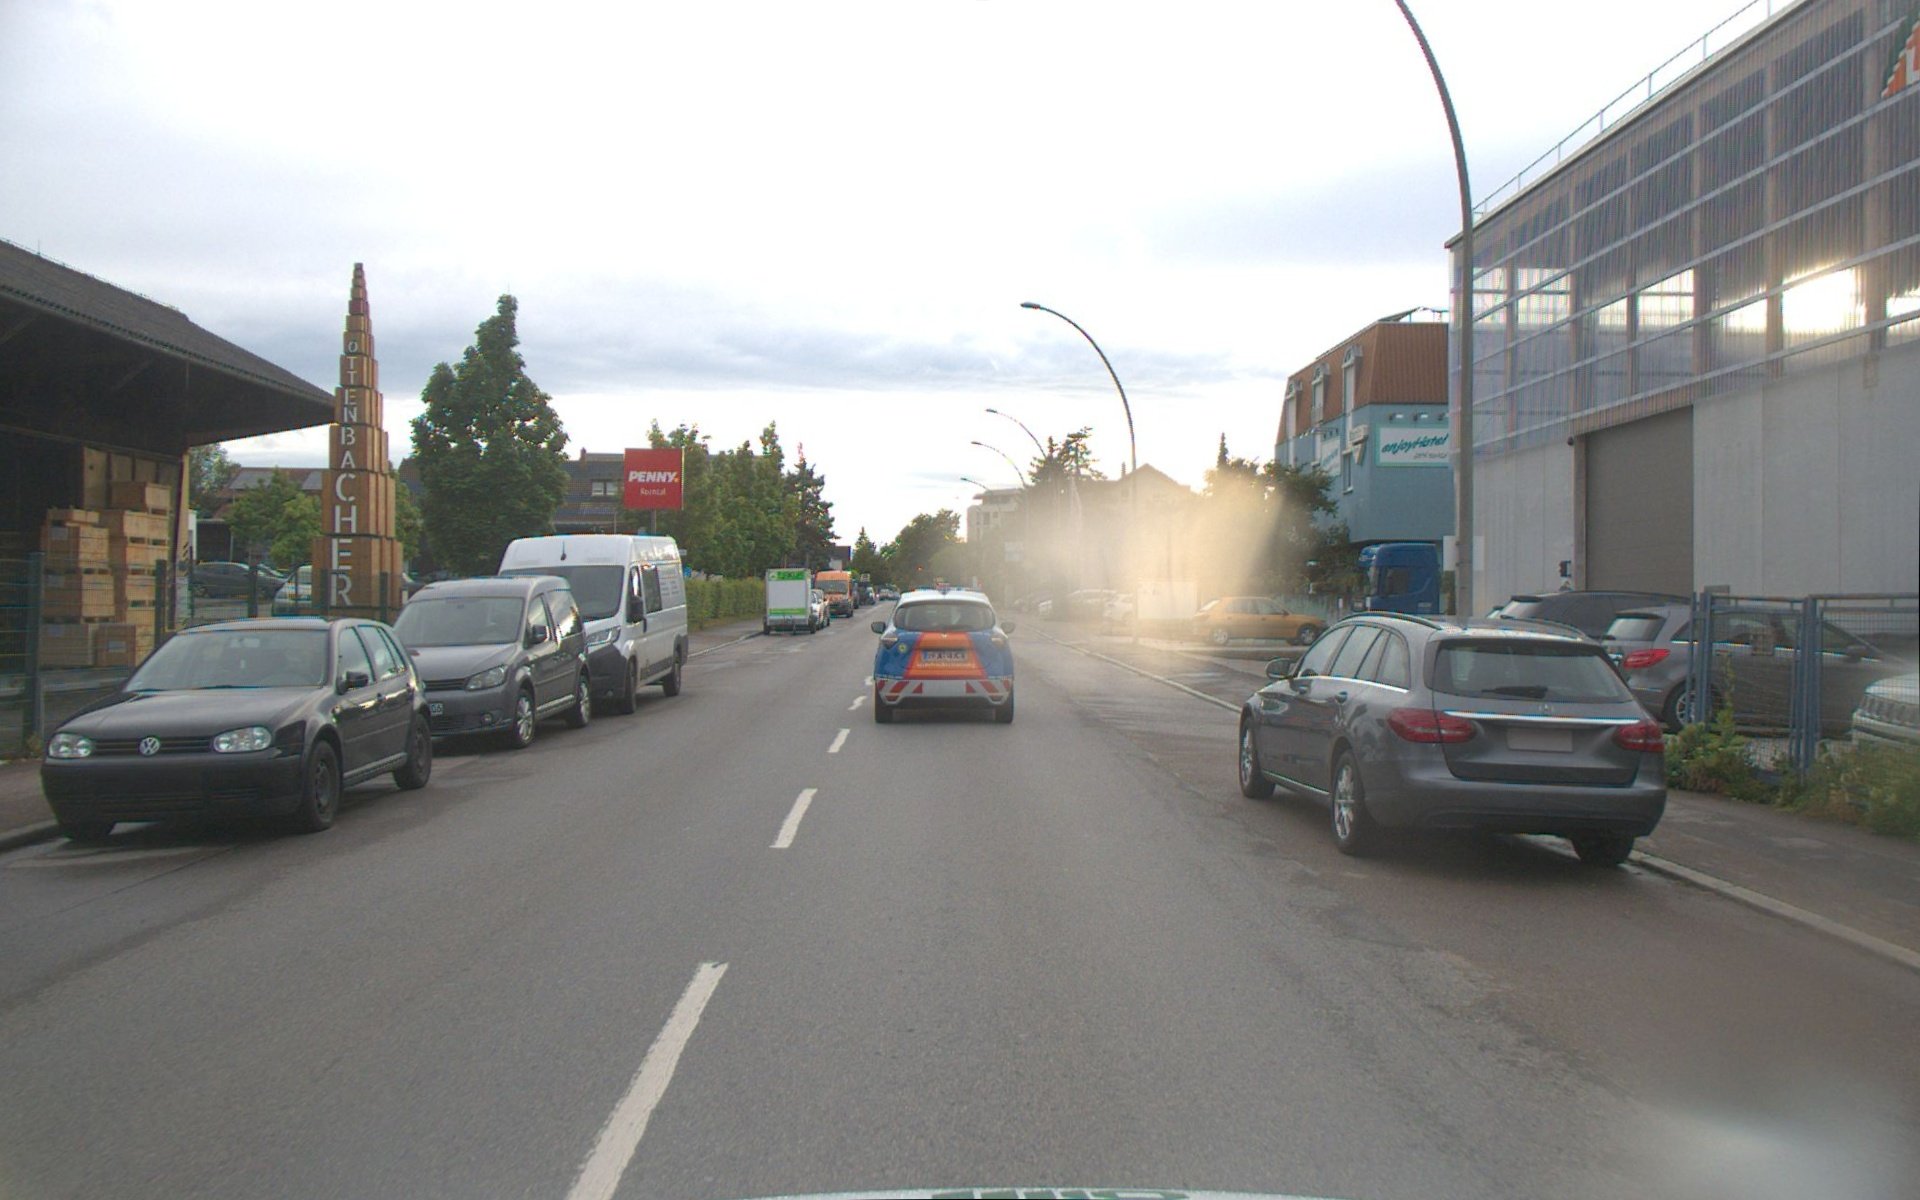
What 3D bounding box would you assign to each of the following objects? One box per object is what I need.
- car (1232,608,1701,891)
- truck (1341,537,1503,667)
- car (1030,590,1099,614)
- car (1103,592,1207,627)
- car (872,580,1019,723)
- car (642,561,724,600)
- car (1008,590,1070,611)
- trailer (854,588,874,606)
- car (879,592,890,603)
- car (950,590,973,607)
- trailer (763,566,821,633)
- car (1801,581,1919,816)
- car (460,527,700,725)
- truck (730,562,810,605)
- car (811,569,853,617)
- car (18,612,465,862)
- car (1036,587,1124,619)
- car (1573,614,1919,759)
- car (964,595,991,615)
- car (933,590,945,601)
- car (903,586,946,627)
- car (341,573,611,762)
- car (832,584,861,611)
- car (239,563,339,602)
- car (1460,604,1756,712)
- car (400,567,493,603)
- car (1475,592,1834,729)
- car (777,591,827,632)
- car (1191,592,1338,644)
[{"bbox_3d":[3.156,0.833,11.343,1.703,1.492,4.544,1,0,-1],"label":"car"},{"bbox_3d":[14.456,0.072,51.959,4.063,3.737,2.718,4,0,-4],"label":"truck"},{"bbox_3d":[6.144,0.099,97.421,3.905,1.288,1.951,2,0,0],"label":"car"},{"bbox_3d":[8.682,0.427,73.758,4.327,1.417,1.879,2,0,-3],"label":"car"},{"bbox_3d":[-0.235,0.602,20.912,1.697,1.659,3.493,0,0,-2],"label":"car"},{"bbox_3d":[-15.535,-1.088,92.784,4.219,2.049,2.062,2,0,-1],"label":"car"},{"bbox_3d":[5.204,0.032,109.072,3.907,1.288,1.950,2,0,-3],"label":"car"},{"bbox_3d":[-8.167,-0.254,141.066,1.683,1.282,5.242,2,2,-3],"label":"trailer"},{"bbox_3d":[-10.372,-0.372,227.050,1.358,1.509,3.781,0,0,-3],"label":"car"},{"bbox_3d":[0.102,-0.116,146.379,1.678,1.463,4.523,2,0,-4],"label":"car"},{"bbox_3d":[-6.258,-0.038,62.038,1.776,2.354,4.728,-2,0,-2],"label":"trailer"},{"bbox_3d":[8.929,0.750,12.334,4.356,1.653,1.893,2,0,-2],"label":"car"},{"bbox_3d":[-5.415,0.319,24.616,2.114,2.469,6.458,-3,0,-1],"label":"car"},{"bbox_3d":[-14.462,-1.260,126.205,5.791,3.127,2.449,2,0,-1],"label":"truck"},{"bbox_3d":[-7.085,-0.422,91.905,2.082,2.582,6.019,0,1,-2],"label":"car"},{"bbox_3d":[-5.085,0.862,12.390,1.628,1.474,4.315,-1,0,-3],"label":"car"},{"bbox_3d":[6.078,0.146,84.254,4.251,1.501,1.902,1,0,-3],"label":"car"},{"bbox_3d":[9.960,1.036,20.301,4.157,1.563,1.811,2,0,-2],"label":"car"},{"bbox_3d":[1.206,0.337,114.228,1.558,1.364,4.090,1,0,-3],"label":"car"},{"bbox_3d":[-3.174,-0.639,248.462,1.617,1.509,3.997,2,0,-3],"label":"car"},{"bbox_3d":[-1.474,0.258,67.428,1.617,1.548,3.997,1,0,-3],"label":"car"},{"bbox_3d":[-5.325,0.679,18.824,1.734,1.799,4.445,-3,0,-1],"label":"car"},{"bbox_3d":[-8.496,-0.177,123.867,1.953,1.981,5.363,1,0,-2],"label":"car"},{"bbox_3d":[-30.879,-0.798,76.167,3.913,1.634,1.768,2,0,-9],"label":"car"},{"bbox_3d":[9.998,0.879,25.726,3.885,1.516,1.833,1,0,0],"label":"car"},{"bbox_3d":[-24.896,-0.722,80.280,3.976,1.578,1.883,2,0,-6],"label":"car"},{"bbox_3d":[9.533,0.805,22.969,4.139,1.704,1.981,2,0,1],"label":"car"},{"bbox_3d":[-6.359,0.443,66.812,1.736,1.525,4.135,0,1,-2],"label":"car"},{"bbox_3d":[8.785,0.508,47.912,3.907,1.455,1.630,1,0,-3],"label":"car"}]
